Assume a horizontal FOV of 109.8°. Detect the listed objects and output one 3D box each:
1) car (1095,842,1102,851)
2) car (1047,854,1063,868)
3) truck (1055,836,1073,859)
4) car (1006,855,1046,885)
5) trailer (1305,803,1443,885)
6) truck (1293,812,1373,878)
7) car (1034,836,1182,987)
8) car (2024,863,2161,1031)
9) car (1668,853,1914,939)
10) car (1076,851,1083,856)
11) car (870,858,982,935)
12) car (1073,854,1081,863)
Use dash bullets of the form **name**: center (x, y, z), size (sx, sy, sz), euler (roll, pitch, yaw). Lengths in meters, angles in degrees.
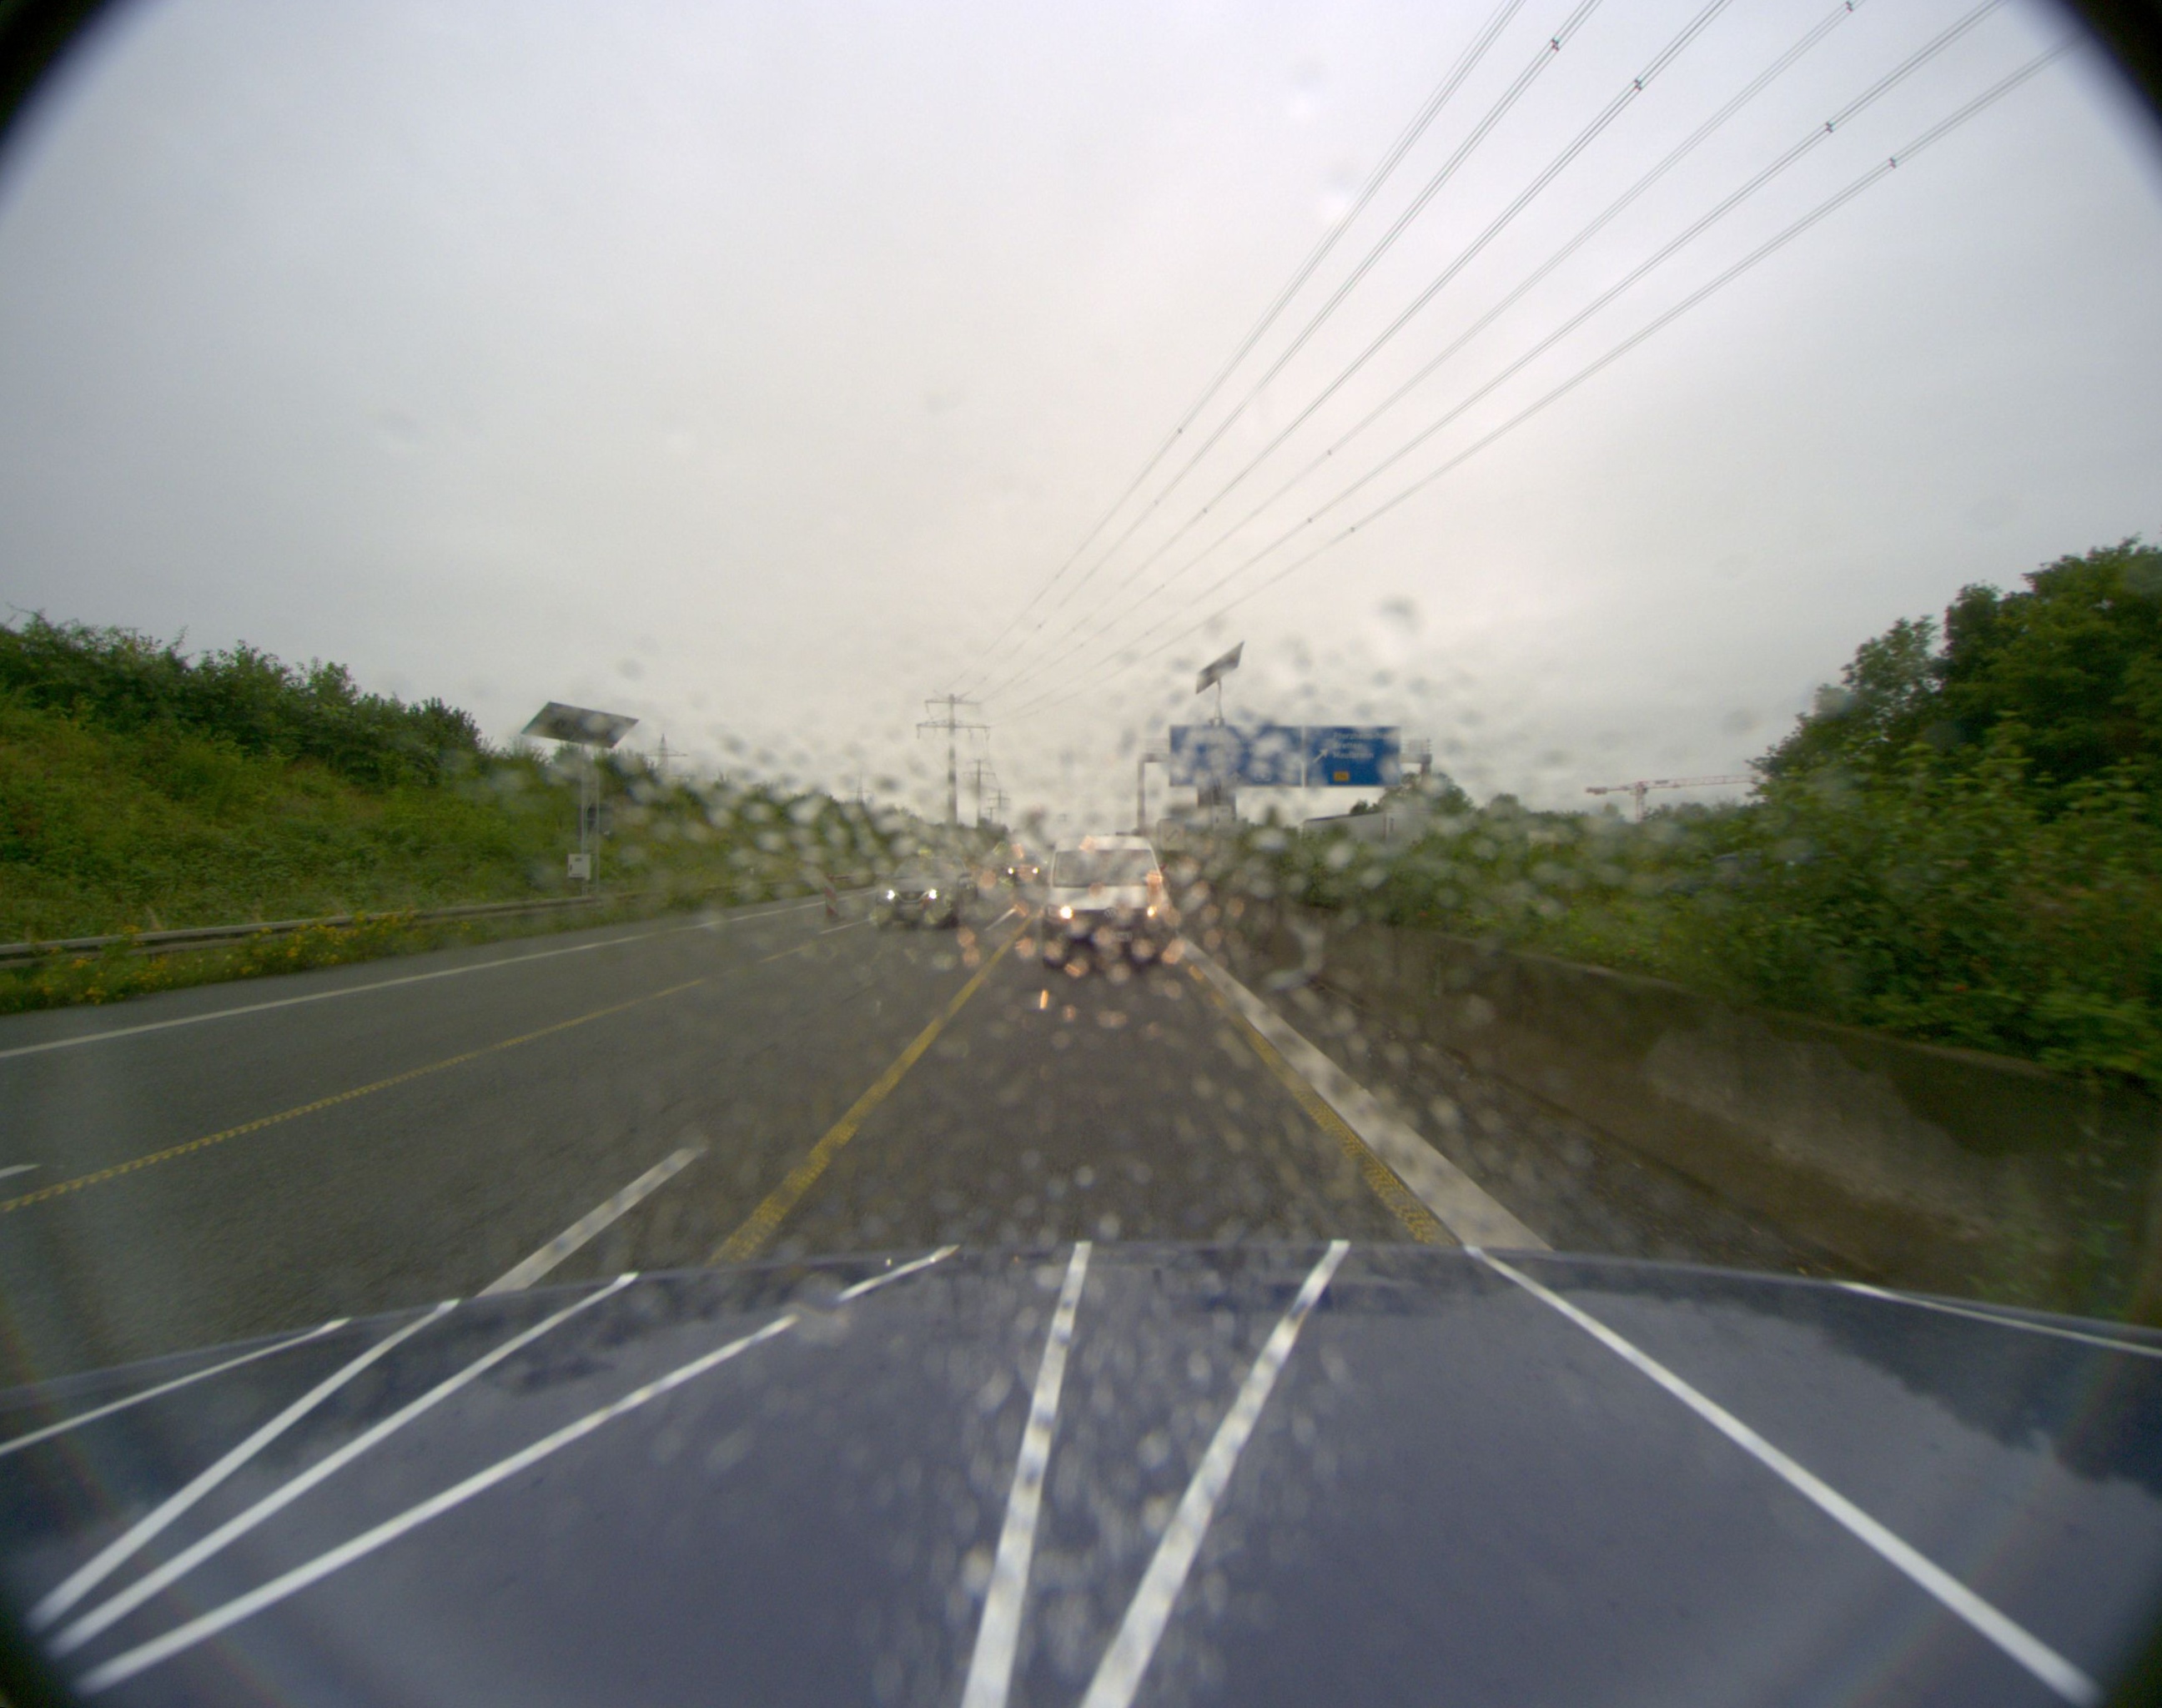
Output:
- **car**: center (4.416, -1.925, 193.382), size (1.785, 2.002, 4.000), euler (-2, 1, 1)
- **car**: center (-3.009, 0.815, 88.749), size (1.804, 1.598, 4.149), euler (-1, 0, -1)
- **truck**: center (-2.994, -1.204, 137.887), size (2.875, 4.007, 8.308), euler (-1, 1, 1)
- **car**: center (-2.862, 0.806, 40.215), size (1.804, 1.432, 4.149), euler (-1, 0, -1)
- **trailer**: center (16.514, -0.531, 44.407), size (2.793, 4.000, 13.249), euler (2, 0, 0)
- **truck**: center (16.489, -0.579, 50.317), size (2.793, 4.000, 7.232), euler (2, 0, 0)
- **car**: center (0.357, 0.695, 11.499), size (1.768, 1.803, 4.345), euler (-1, 0, 1)
- **car**: center (11.331, 0.925, 6.460), size (1.693, 1.555, 3.999), euler (-2, 1, 1)
- **car**: center (16.180, 0.868, 17.663), size (1.998, 1.738, 4.000), euler (0, 0, 1)
- **car**: center (-0.349, -0.129, 215.261), size (1.906, 1.608, 4.000), euler (0, 0, 1)
- **car**: center (-3.500, 0.888, 17.906), size (1.804, 1.523, 4.149), euler (-1, 0, -1)
- **car**: center (-0.984, 0.983, 180.089), size (1.784, 2.002, 4.000), euler (-1, 0, 1)
